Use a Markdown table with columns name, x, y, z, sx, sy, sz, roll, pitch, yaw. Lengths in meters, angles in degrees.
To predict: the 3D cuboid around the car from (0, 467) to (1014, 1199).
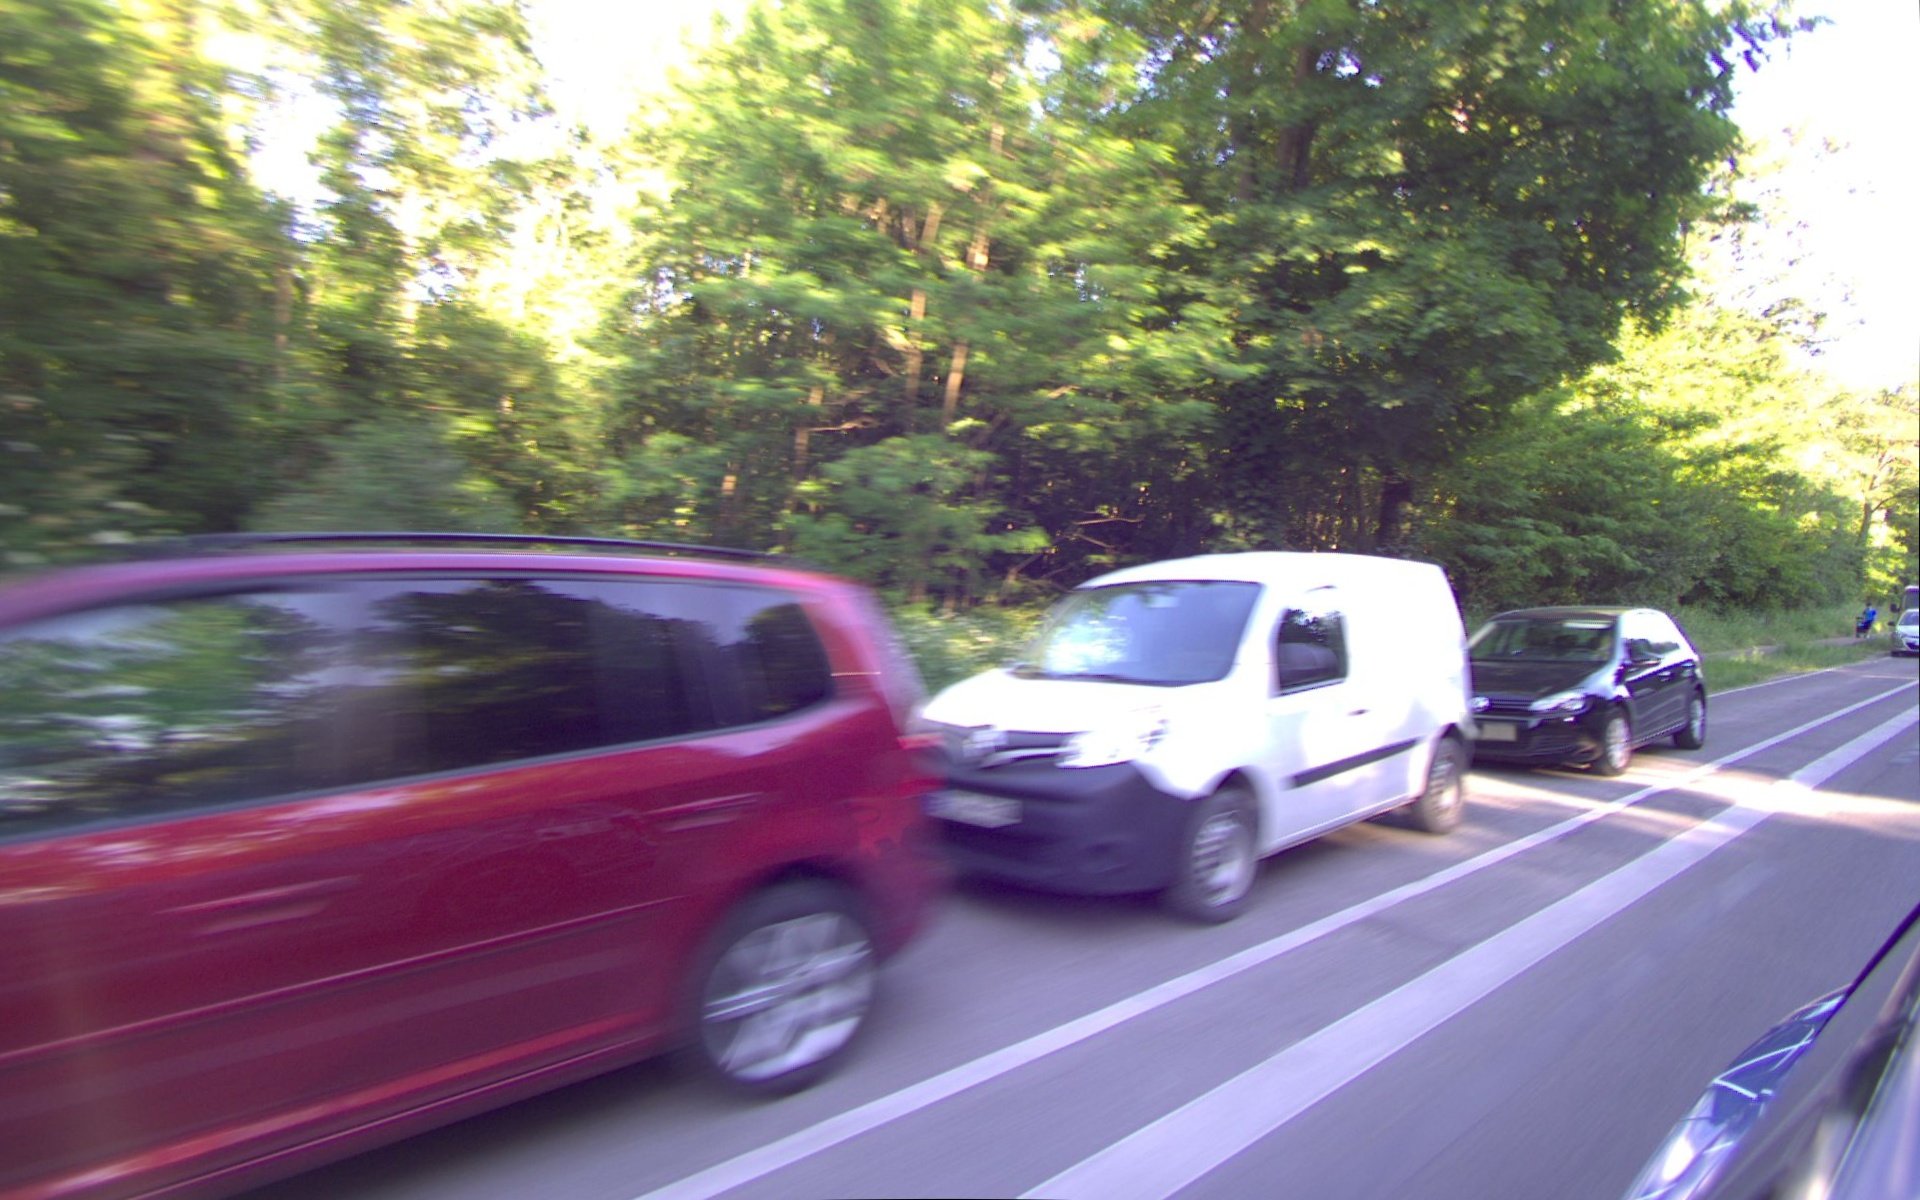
| name | x | y | z | sx | sy | sz | roll | pitch | yaw |
| --- | --- | --- | --- | --- | --- | --- | --- | --- | --- |
| car | -2.011 | 0.598 | 2.838 | 4.262 | 1.681 | 1.837 | 0 | 0 | -41 |

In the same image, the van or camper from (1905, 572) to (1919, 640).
| name | x | y | z | sx | sy | sz | roll | pitch | yaw |
| --- | --- | --- | --- | --- | --- | --- | --- | --- | --- |
| van or camper | 36.031 | 0.261 | 36.675 | 5.936 | 2.341 | 2.038 | 0 | 2 | -42 |

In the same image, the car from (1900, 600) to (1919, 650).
| name | x | y | z | sx | sy | sz | roll | pitch | yaw |
| --- | --- | --- | --- | --- | --- | --- | --- | --- | --- |
| car | 30.918 | 0.754 | 31.781 | 3.932 | 1.535 | 1.749 | 0 | -1 | -43 |

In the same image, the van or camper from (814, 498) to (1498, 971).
| name | x | y | z | sx | sy | sz | roll | pitch | yaw |
| --- | --- | --- | --- | --- | --- | --- | --- | --- | --- |
| van or camper | 1.443 | 0.519 | 6.145 | 4.307 | 1.838 | 1.953 | 0 | 0 | -43 |

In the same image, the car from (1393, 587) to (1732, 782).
| name | x | y | z | sx | sy | sz | roll | pitch | yaw |
| --- | --- | --- | --- | --- | --- | --- | --- | --- | --- |
| car | 6.059 | 0.666 | 9.987 | 4.077 | 1.543 | 1.693 | 0 | 0 | -41 |
